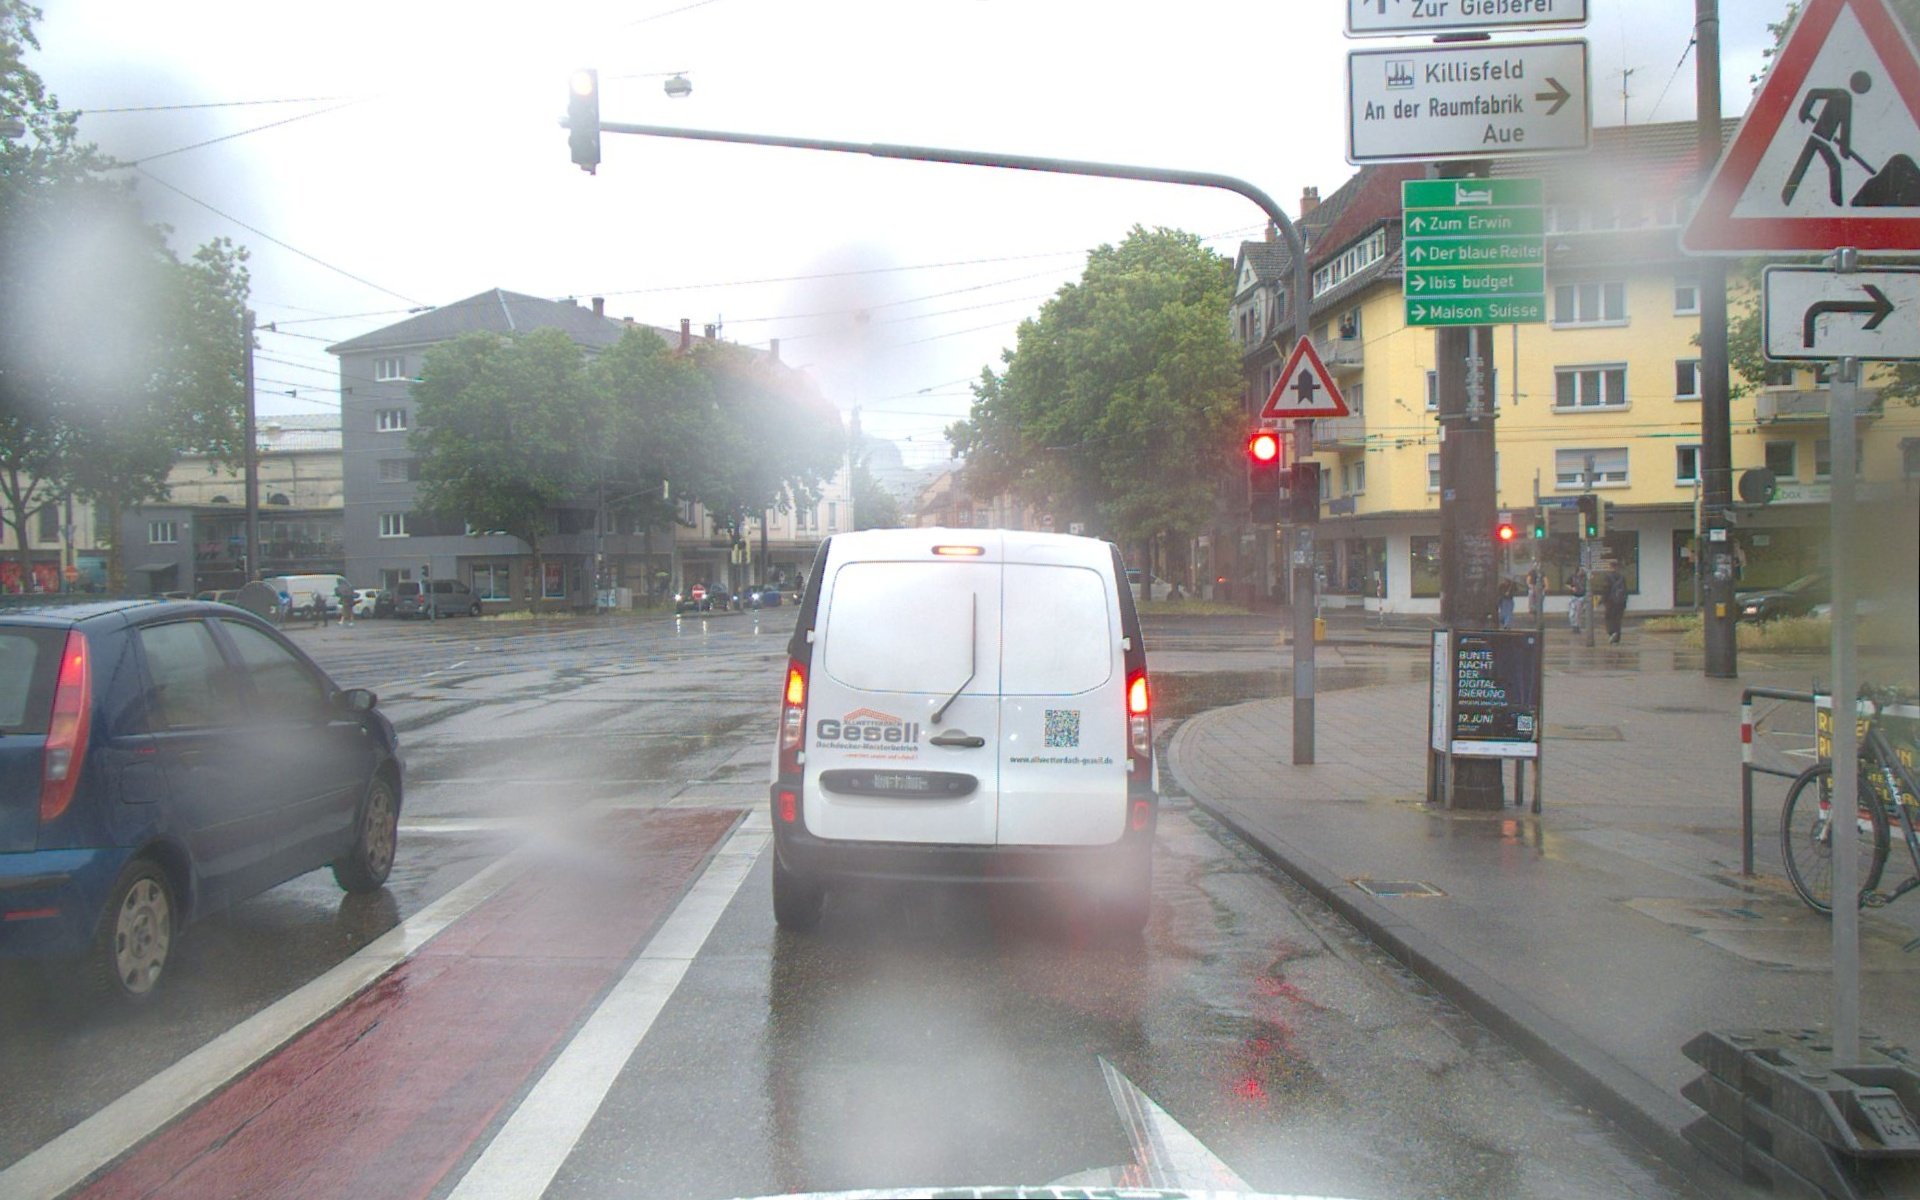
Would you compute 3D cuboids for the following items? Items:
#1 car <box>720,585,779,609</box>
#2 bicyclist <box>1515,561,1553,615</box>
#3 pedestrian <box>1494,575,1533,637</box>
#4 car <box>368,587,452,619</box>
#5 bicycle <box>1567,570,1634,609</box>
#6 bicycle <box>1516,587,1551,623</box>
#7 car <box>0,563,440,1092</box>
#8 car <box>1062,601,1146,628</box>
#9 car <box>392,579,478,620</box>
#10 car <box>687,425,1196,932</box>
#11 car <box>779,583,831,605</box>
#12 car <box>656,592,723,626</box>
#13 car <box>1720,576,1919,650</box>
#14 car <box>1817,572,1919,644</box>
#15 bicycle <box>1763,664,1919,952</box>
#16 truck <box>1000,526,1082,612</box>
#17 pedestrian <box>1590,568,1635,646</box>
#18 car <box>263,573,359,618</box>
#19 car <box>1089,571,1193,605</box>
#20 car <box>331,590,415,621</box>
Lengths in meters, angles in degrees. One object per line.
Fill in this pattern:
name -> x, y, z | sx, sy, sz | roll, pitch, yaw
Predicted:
car -> -11.998, -0.171, 94.571 | 1.909, 1.260, 4.003 | 0, 2, 16
bicyclist -> 17.062, -0.362, 49.170 | 0.916, 1.574, 1.067 | 0, 0, 29
pedestrian -> 14.054, 0.154, 41.997 | 0.809, 1.560, 0.614 | 0, 0, -39
car -> -28.699, 0.138, 86.452 | 1.954, 1.556, 3.997 | 0, 2, 26
bicycle -> 21.567, -0.355, 55.710 | 2.056, 1.283, 0.532 | 0, 1, 14
bicycle -> 17.073, 0.132, 49.204 | 0.645, 1.045, 2.021 | 0, 0, 29
car -> -3.605, 0.677, 6.916 | 1.692, 1.606, 3.820 | 0, 0, -1
car -> 6.181, 0.622, 71.247 | 3.378, 1.150, 1.469 | 0, 0, -9
car -> -26.775, -0.045, 84.430 | 1.954, 2.049, 3.996 | 0, 0, 26
car -> -0.109, 0.316, 9.195 | 2.058, 2.047, 4.962 | 0, 0, -1
car -> -9.661, -0.401, 103.146 | 1.909, 1.260, 4.003 | 0, 2, 16
car -> -14.063, 0.461, 86.197 | 1.909, 1.635, 4.003 | 0, 2, 16
car -> 20.871, 0.326, 39.197 | 4.832, 1.672, 2.001 | 0, -2, 11
car -> 21.007, 0.161, 36.026 | 3.854, 1.516, 1.808 | 0, 1, 15
bicycle -> 4.255, 0.905, 7.210 | 0.503, 1.126, 2.017 | 3, 1, 1
truck -> 5.492, -1.920, 108.048 | 3.395, 5.176, 15.320 | 0, 0, 10
pedestrian -> 14.564, 0.152, 36.911 | 0.886, 1.698, 1.019 | 0, 0, 25
car -> -34.126, -0.269, 87.108 | 1.953, 2.236, 4.787 | 1, 2, 22
car -> 7.549, -0.509, 69.190 | 4.088, 1.362, 1.518 | -1, 1, -8
car -> -30.953, 0.269, 87.302 | 1.915, 1.522, 3.997 | 0, 2, 26
